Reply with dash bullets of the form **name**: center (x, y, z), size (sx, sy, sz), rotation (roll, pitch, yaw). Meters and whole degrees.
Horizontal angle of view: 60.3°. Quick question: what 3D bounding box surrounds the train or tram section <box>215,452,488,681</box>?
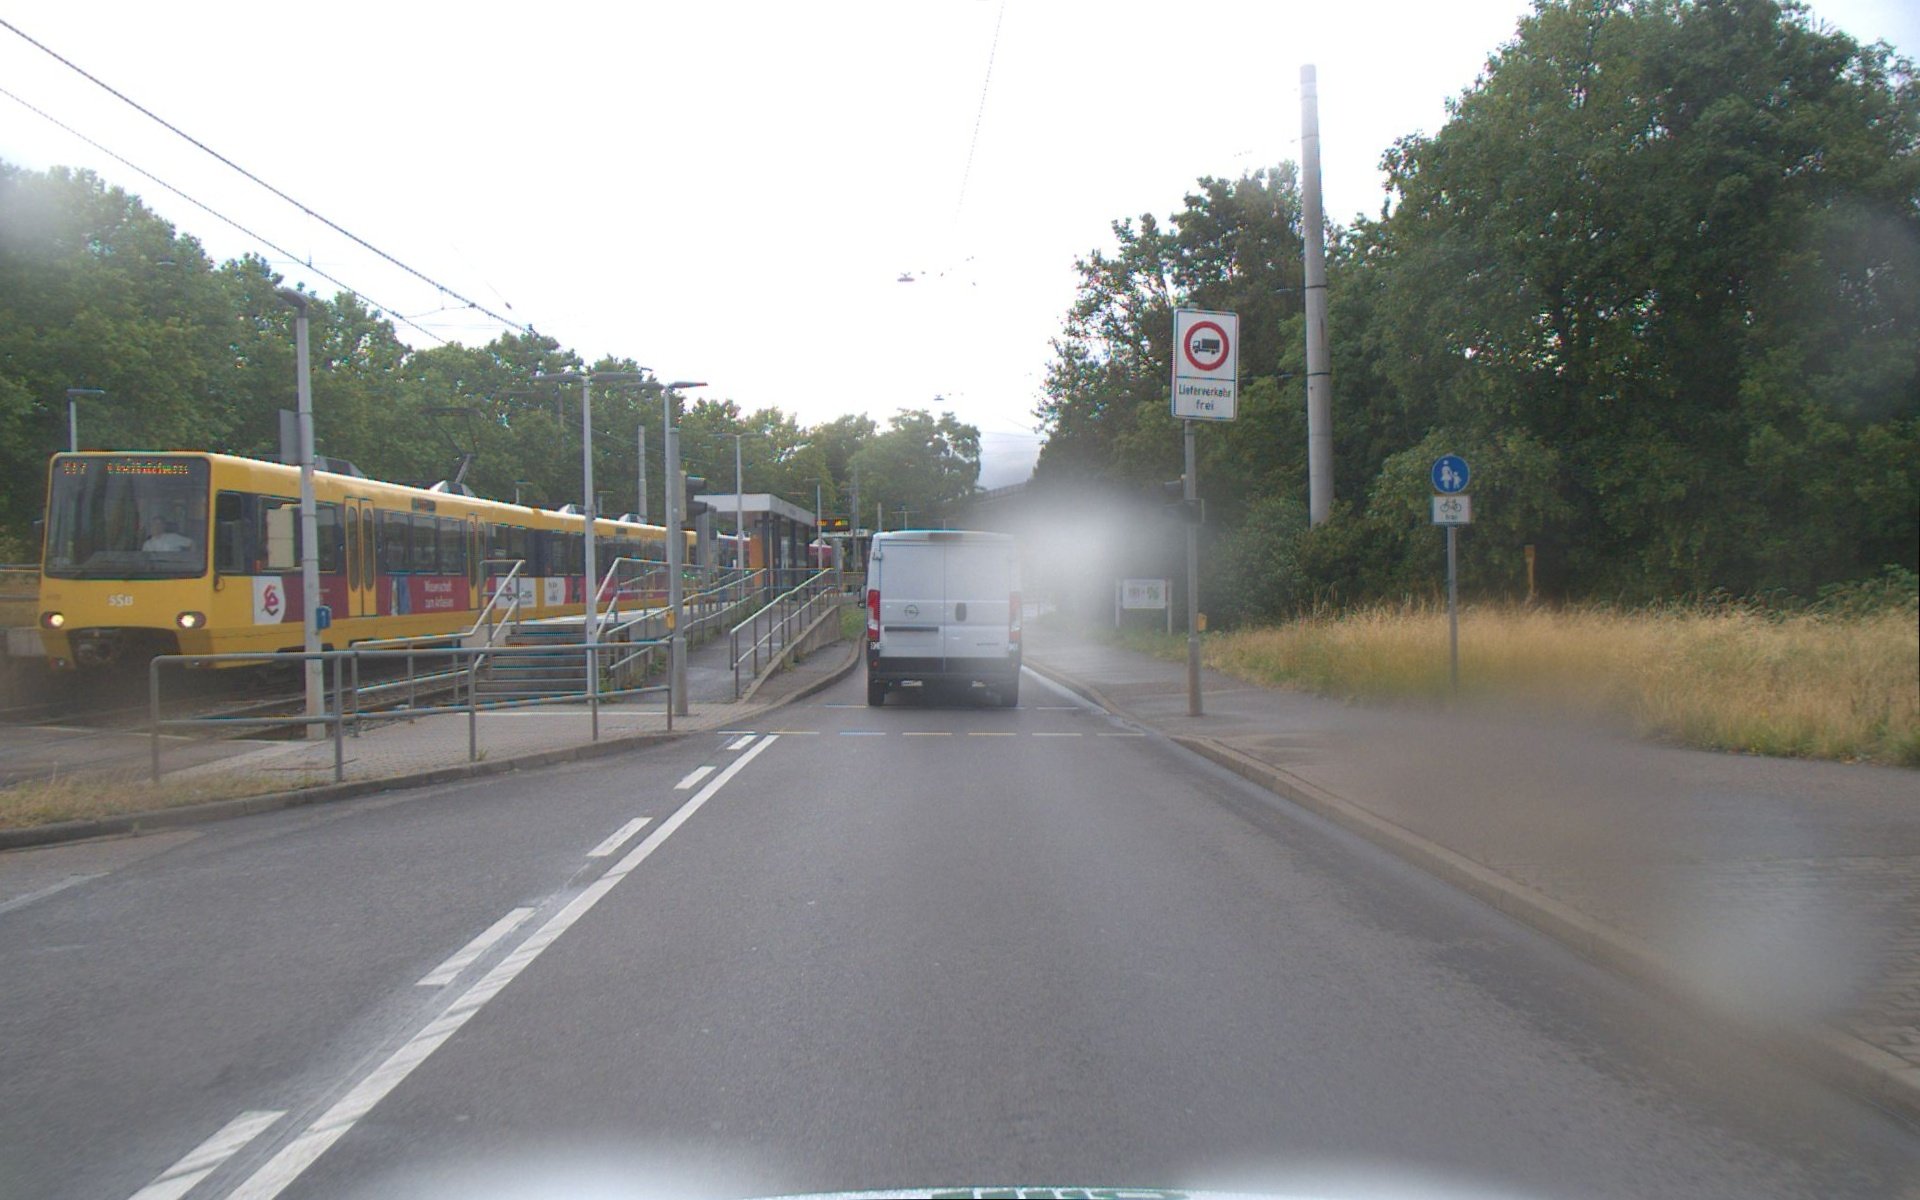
- **train or tram section**: center (-11.802, -0.620, 32.865), size (2.869, 4.001, 7.004), rotation (1, 0, -1)

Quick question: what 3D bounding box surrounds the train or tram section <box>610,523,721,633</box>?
- **train or tram section**: center (-11.387, -0.829, 64.536), size (2.868, 4.001, 7.007), rotation (1, 0, 1)

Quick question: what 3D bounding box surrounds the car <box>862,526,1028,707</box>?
- **car**: center (-0.294, 0.163, 23.101), size (2.049, 2.234, 5.059), rotation (1, 1, -3)

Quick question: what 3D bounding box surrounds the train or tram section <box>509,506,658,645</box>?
- **train or tram section**: center (-11.664, -0.748, 51.887), size (2.868, 4.001, 7.007), rotation (1, 0, 1)

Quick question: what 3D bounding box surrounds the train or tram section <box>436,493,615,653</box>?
- **train or tram section**: center (-11.788, -0.707, 45.598), size (2.868, 4.001, 7.007), rotation (1, 0, 1)

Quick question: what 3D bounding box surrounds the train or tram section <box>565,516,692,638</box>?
- **train or tram section**: center (-11.536, -0.789, 58.210), size (2.868, 4.001, 7.007), rotation (1, 0, 1)

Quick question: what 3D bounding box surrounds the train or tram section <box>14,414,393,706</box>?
- **train or tram section**: center (-11.707, -0.575, 26.474), size (2.869, 4.001, 7.004), rotation (1, 0, -1)

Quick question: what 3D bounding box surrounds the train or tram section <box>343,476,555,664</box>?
- **train or tram section**: center (-11.884, -0.665, 39.193), size (2.869, 4.001, 7.004), rotation (1, 0, -1)
